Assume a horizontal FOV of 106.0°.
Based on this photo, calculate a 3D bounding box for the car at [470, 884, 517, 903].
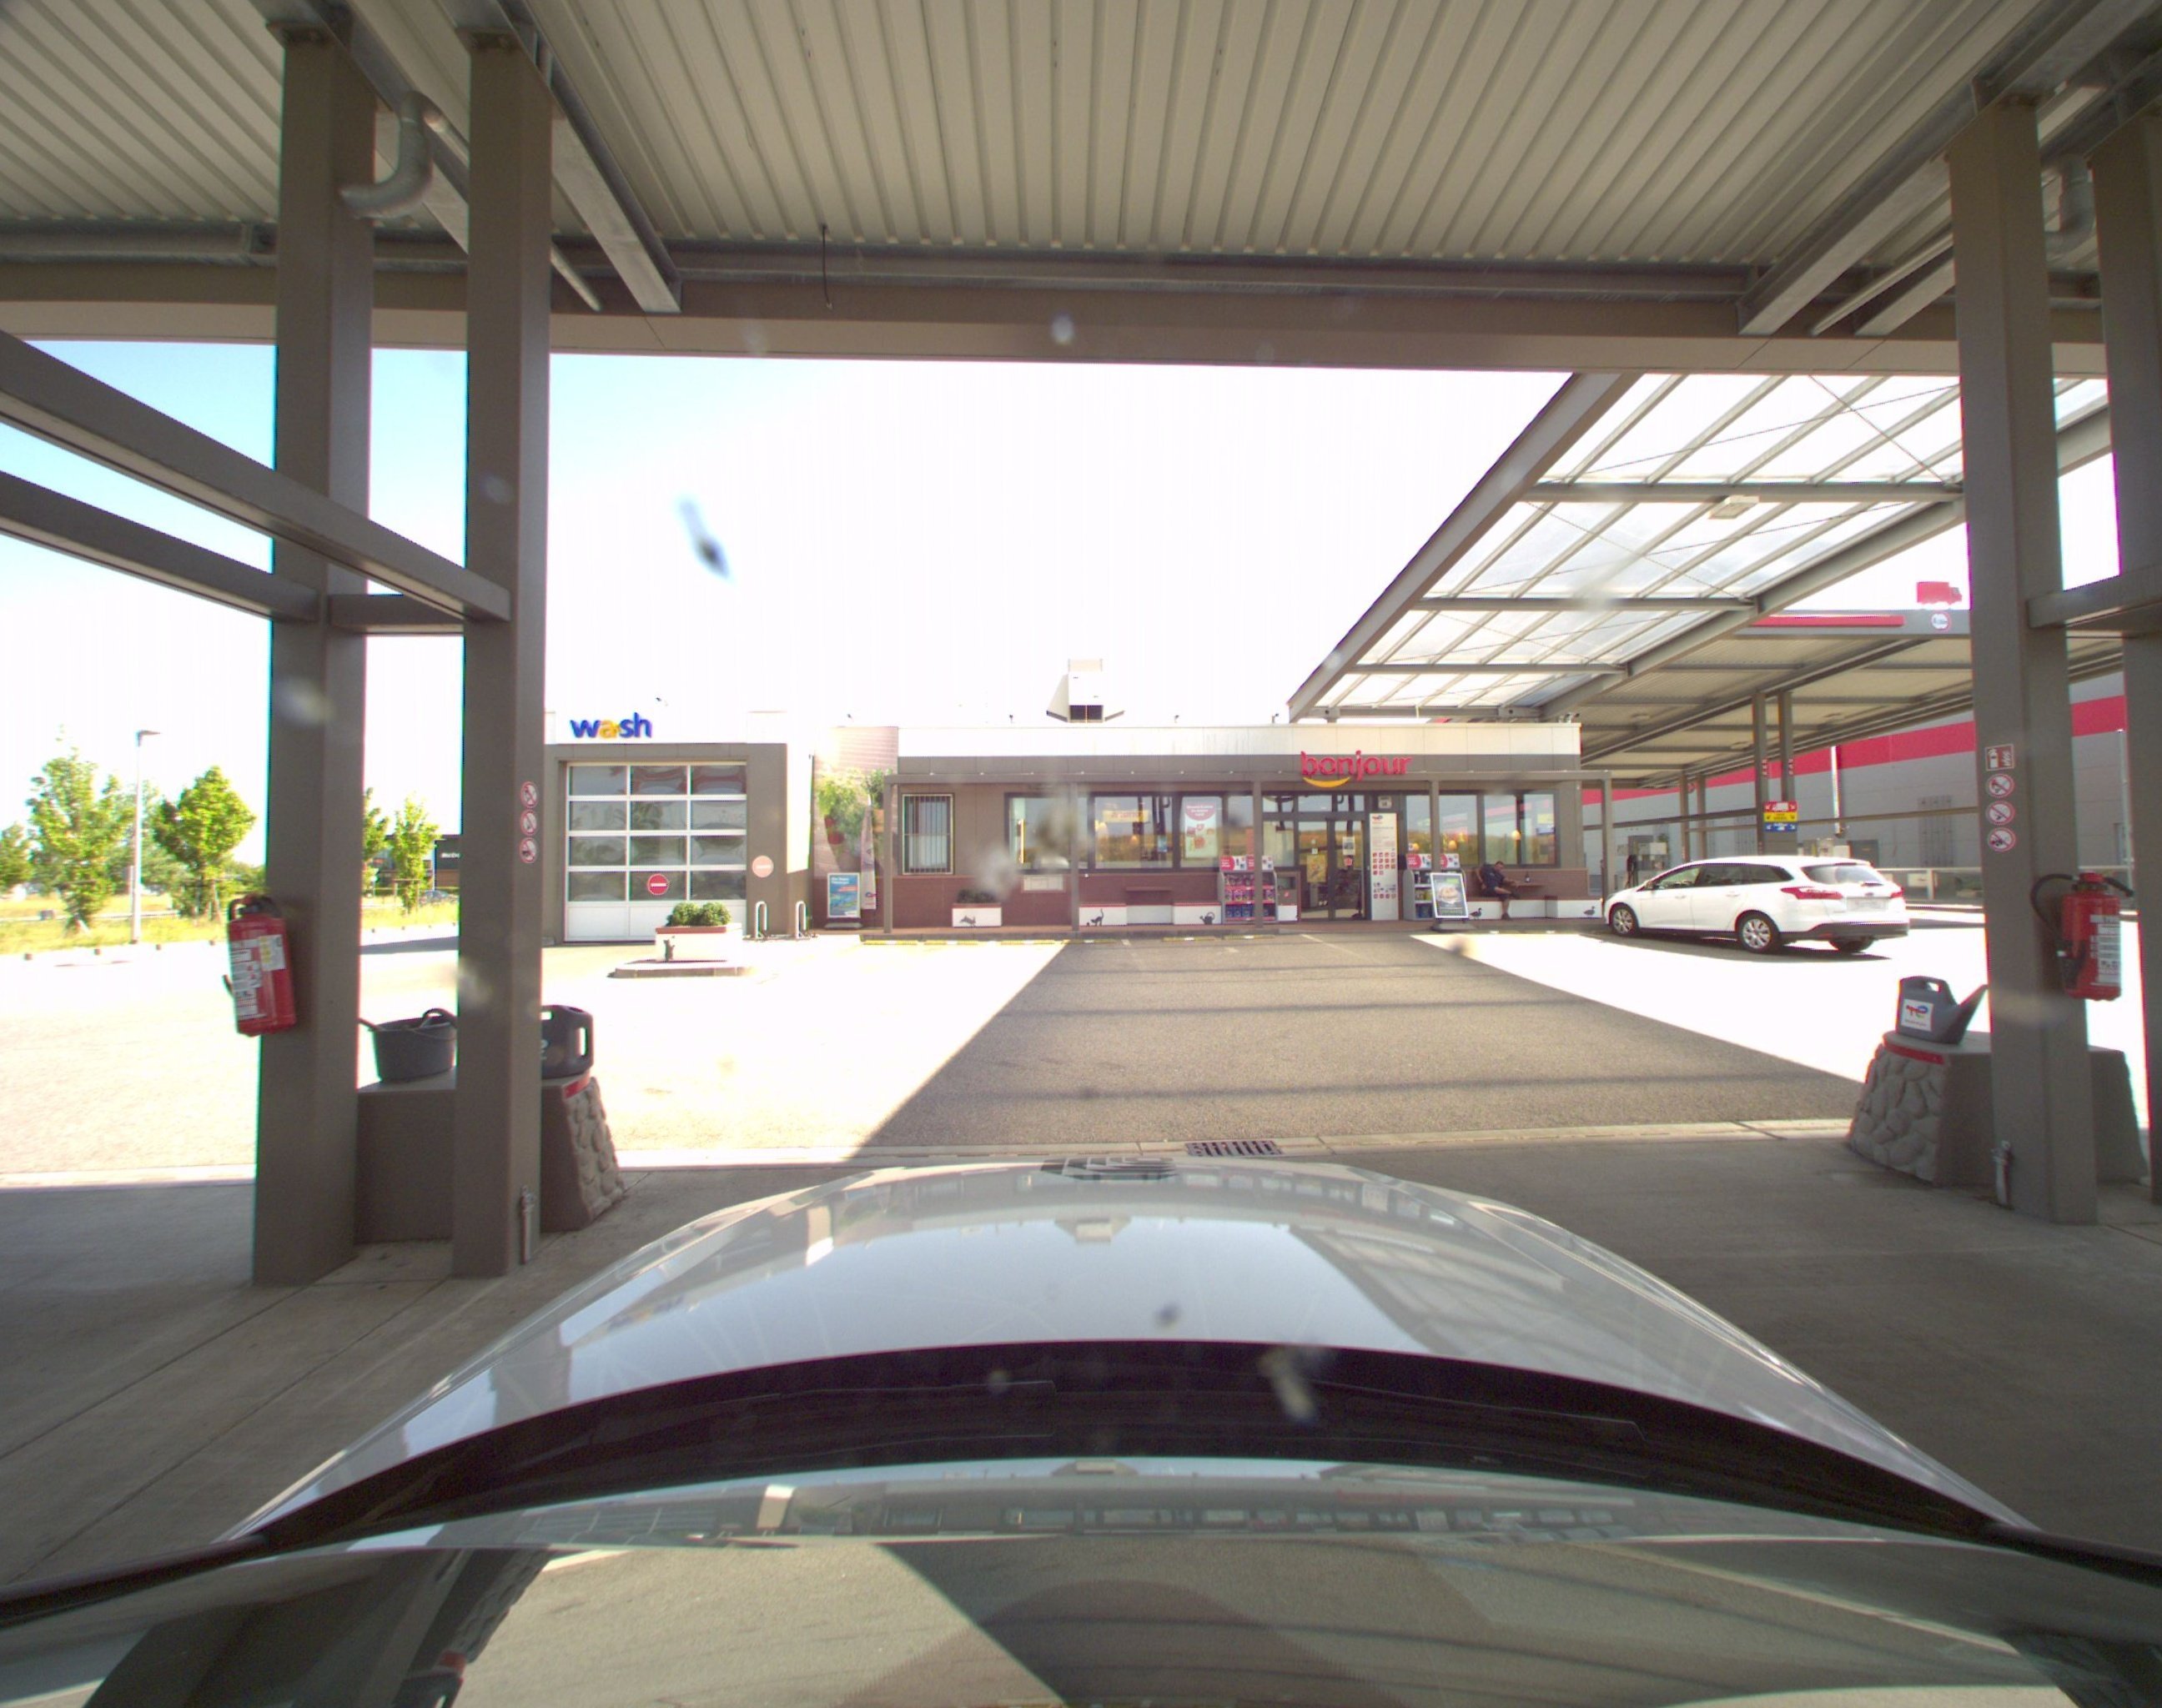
[{"bbox_3d":[-54.492,3.668,75.625,1.796,1.596,3.989,-1,-1,-8],"label":"car"}]

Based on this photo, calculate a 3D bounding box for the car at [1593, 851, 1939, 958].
[{"bbox_3d":[10.980,0.737,13.563,1.829,1.457,4.309,-1,-1,-8],"label":"car"}]

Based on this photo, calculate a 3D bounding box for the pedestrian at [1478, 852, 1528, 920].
[{"bbox_3d":[9.124,0.675,17.629,0.699,1.432,0.672,-1,-1,-3],"label":"pedestrian"}]
